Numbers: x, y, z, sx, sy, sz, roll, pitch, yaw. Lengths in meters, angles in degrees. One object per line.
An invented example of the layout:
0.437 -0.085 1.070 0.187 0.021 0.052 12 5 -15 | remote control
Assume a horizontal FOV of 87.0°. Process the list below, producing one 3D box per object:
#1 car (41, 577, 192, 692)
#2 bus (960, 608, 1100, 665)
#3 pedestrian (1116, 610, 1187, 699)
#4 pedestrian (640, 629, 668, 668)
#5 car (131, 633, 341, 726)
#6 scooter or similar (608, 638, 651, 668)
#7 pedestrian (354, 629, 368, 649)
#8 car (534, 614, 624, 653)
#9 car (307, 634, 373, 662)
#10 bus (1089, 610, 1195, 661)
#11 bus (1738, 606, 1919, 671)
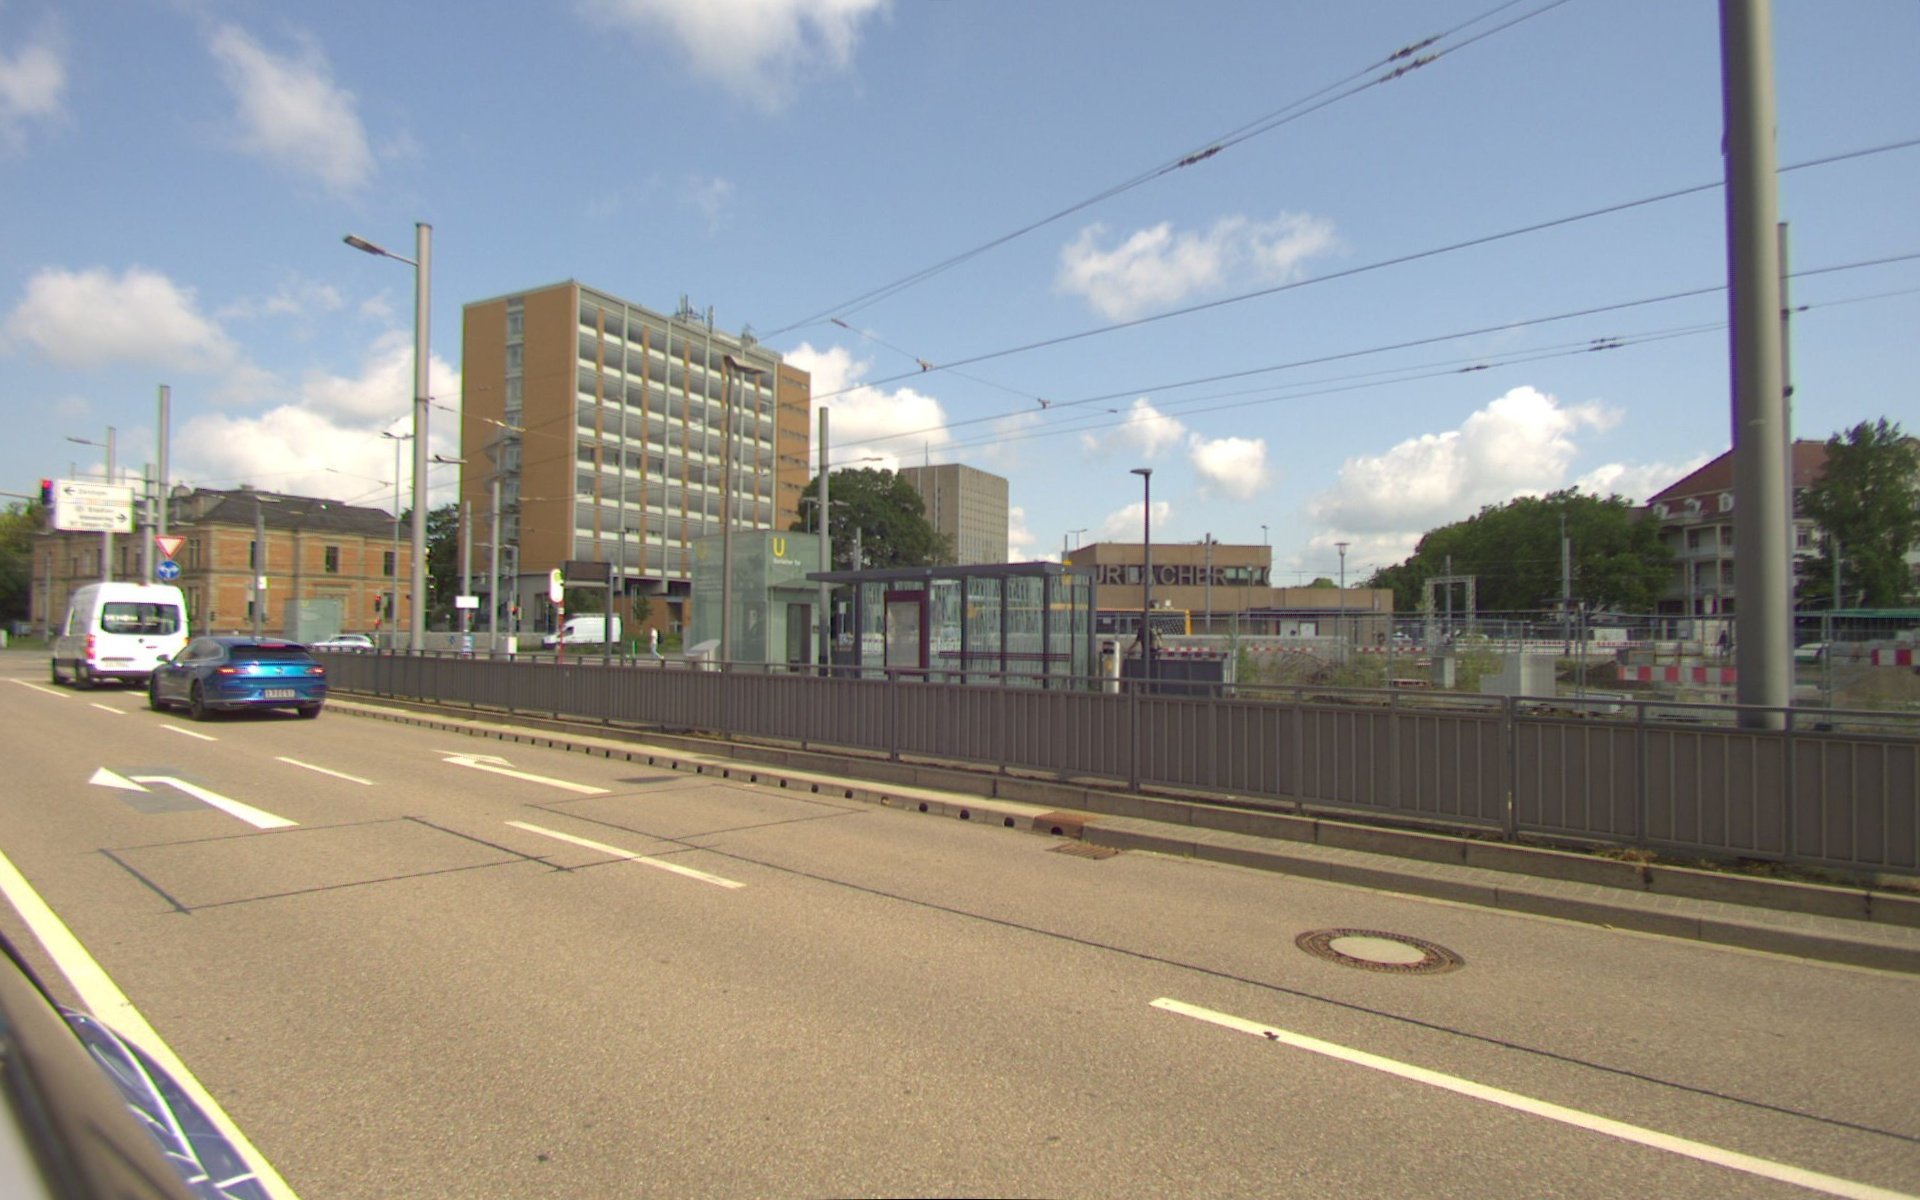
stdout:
-21.604 0.867 25.820 5.576 2.642 1.973 -1 -3 41 | car
3.641 1.921 53.407 6.991 2.855 2.703 1 -2 -5 | bus
4.074 1.160 21.541 0.985 1.813 1.047 -1 -3 -43 | pedestrian
-13.944 2.197 46.174 1.080 1.702 0.931 -1 -1 -8 | pedestrian
-13.038 1.345 18.134 4.549 1.466 1.832 -2 -4 38 | car
-15.295 2.429 46.870 1.495 1.198 1.320 4 3 43 | scooter or similar
-48.888 3.183 82.571 0.752 1.600 0.774 1 -2 -10 | pedestrian
-29.448 2.606 78.321 6.046 2.901 2.492 2 -3 -35 | car
-45.825 3.525 74.850 4.070 1.785 2.006 0 3 -32 | car
9.656 1.916 53.995 4.999 2.607 2.705 1 -2 -6 | bus
51.367 2.210 57.801 12.066 3.534 2.968 1 -2 -5 | bus
